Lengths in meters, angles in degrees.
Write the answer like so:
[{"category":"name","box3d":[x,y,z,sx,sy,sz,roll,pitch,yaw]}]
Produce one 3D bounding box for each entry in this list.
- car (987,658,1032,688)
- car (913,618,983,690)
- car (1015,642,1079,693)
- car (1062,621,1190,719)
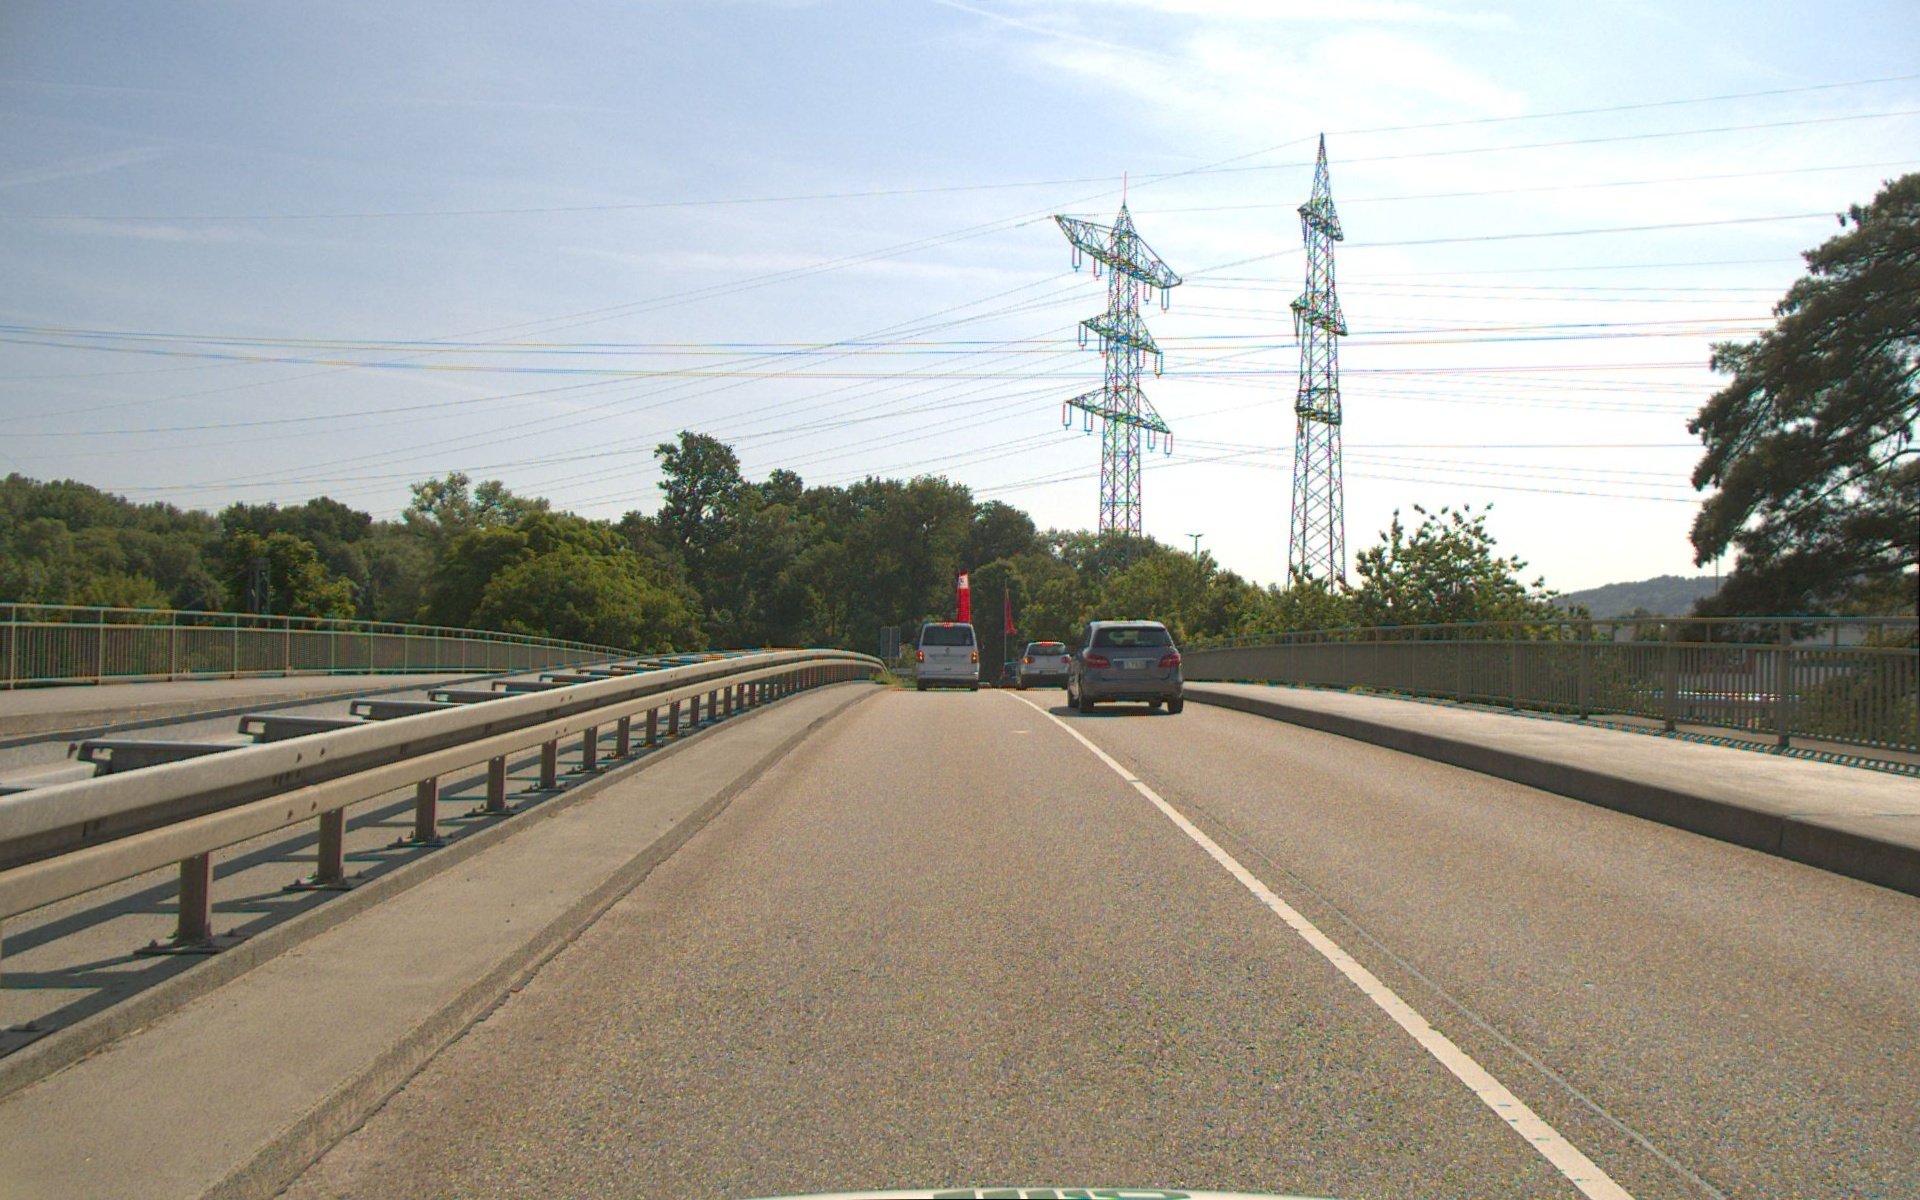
[{"category":"car","box3d":[2.464,3.609,81.644,1.735,1.355,3.743,-2,-4,9]},{"category":"car","box3d":[-0.318,1.601,49.925,1.997,2.049,4.000,-1,-1,1]},{"category":"car","box3d":[2.714,2.156,52.457,1.818,1.556,4.143,-1,-3,0]},{"category":"car","box3d":[2.852,1.176,29.168,1.818,1.556,4.143,-1,0,0]}]
